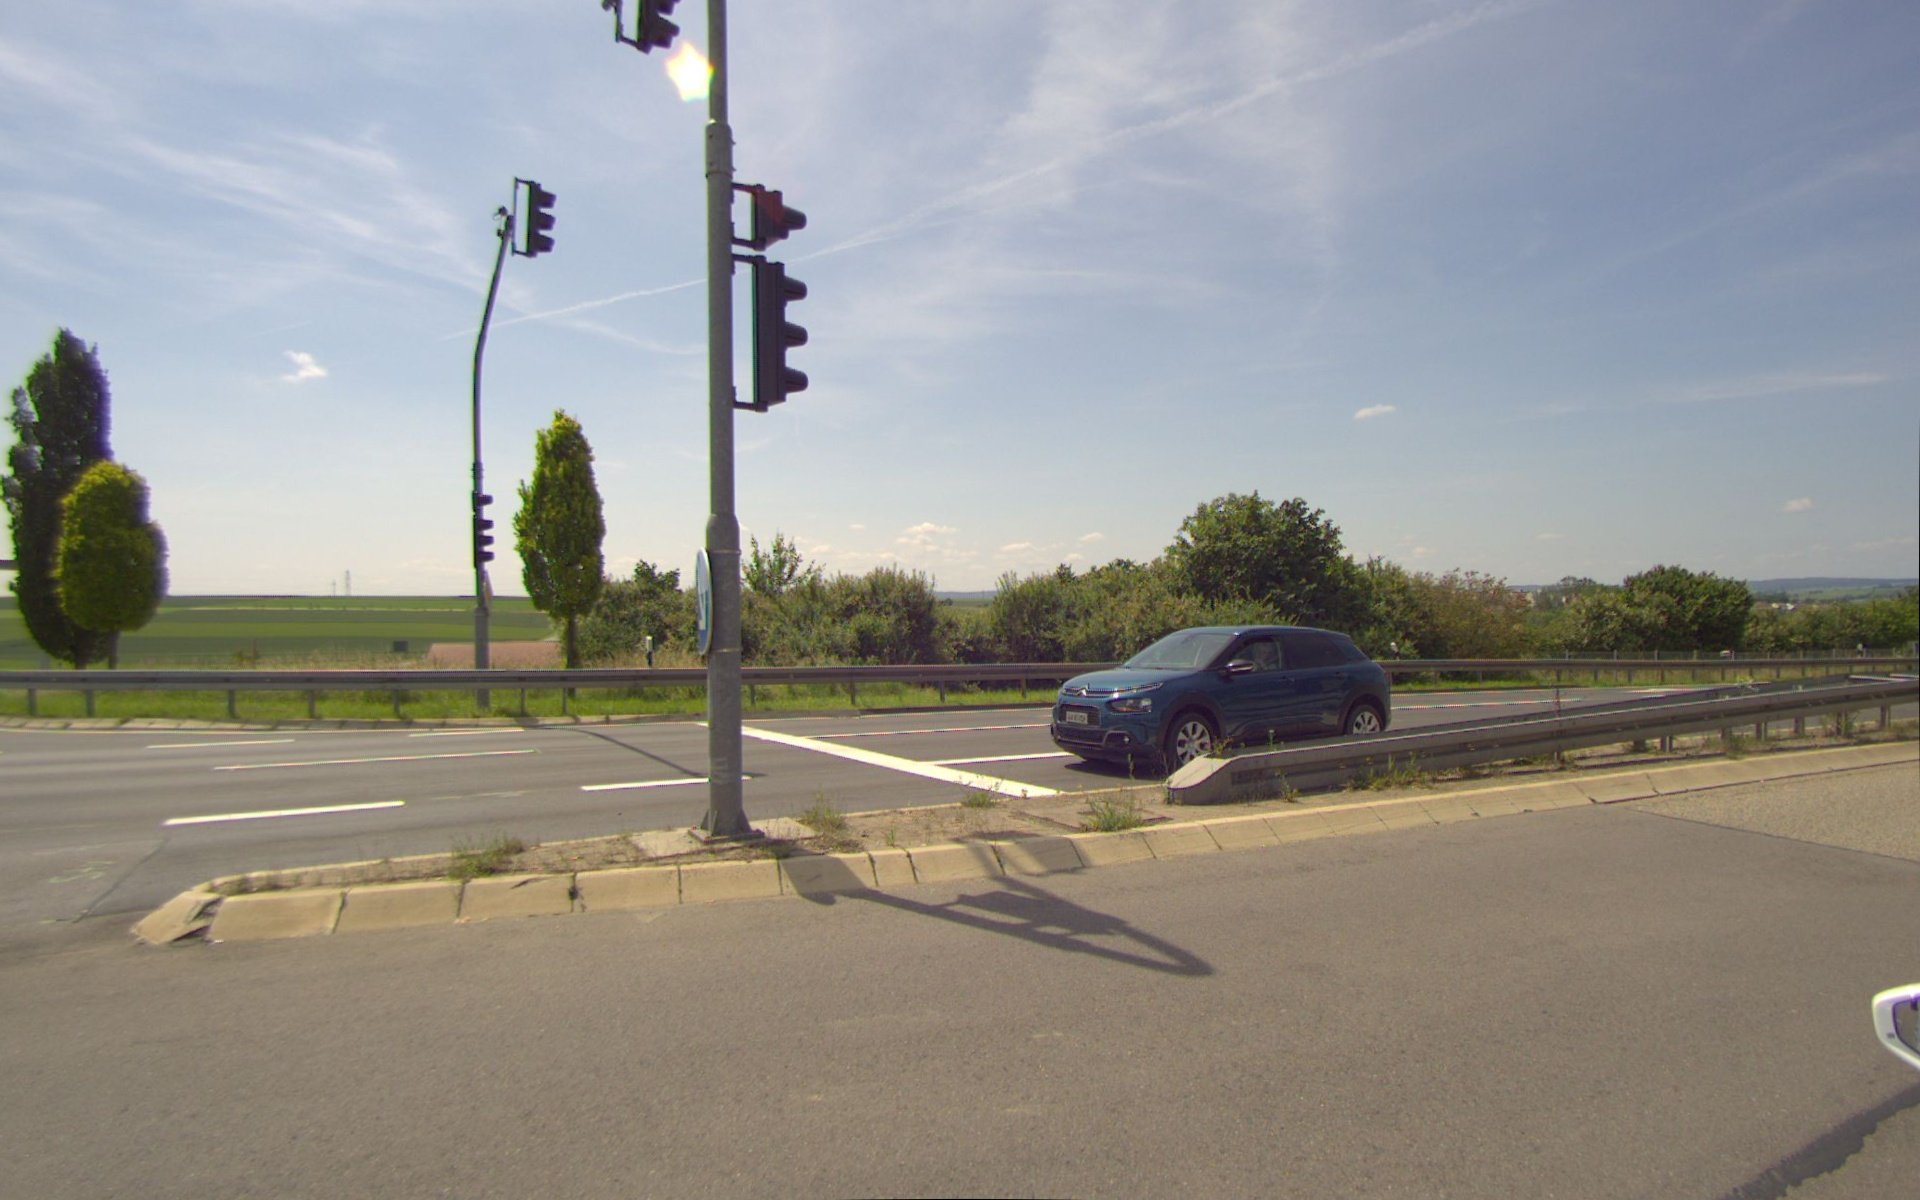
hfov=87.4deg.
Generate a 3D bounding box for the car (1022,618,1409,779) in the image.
[{"bbox_3d":[2.877,0.970,11.082,4.148,1.488,1.747,1,-2,-31],"label":"car"}]
